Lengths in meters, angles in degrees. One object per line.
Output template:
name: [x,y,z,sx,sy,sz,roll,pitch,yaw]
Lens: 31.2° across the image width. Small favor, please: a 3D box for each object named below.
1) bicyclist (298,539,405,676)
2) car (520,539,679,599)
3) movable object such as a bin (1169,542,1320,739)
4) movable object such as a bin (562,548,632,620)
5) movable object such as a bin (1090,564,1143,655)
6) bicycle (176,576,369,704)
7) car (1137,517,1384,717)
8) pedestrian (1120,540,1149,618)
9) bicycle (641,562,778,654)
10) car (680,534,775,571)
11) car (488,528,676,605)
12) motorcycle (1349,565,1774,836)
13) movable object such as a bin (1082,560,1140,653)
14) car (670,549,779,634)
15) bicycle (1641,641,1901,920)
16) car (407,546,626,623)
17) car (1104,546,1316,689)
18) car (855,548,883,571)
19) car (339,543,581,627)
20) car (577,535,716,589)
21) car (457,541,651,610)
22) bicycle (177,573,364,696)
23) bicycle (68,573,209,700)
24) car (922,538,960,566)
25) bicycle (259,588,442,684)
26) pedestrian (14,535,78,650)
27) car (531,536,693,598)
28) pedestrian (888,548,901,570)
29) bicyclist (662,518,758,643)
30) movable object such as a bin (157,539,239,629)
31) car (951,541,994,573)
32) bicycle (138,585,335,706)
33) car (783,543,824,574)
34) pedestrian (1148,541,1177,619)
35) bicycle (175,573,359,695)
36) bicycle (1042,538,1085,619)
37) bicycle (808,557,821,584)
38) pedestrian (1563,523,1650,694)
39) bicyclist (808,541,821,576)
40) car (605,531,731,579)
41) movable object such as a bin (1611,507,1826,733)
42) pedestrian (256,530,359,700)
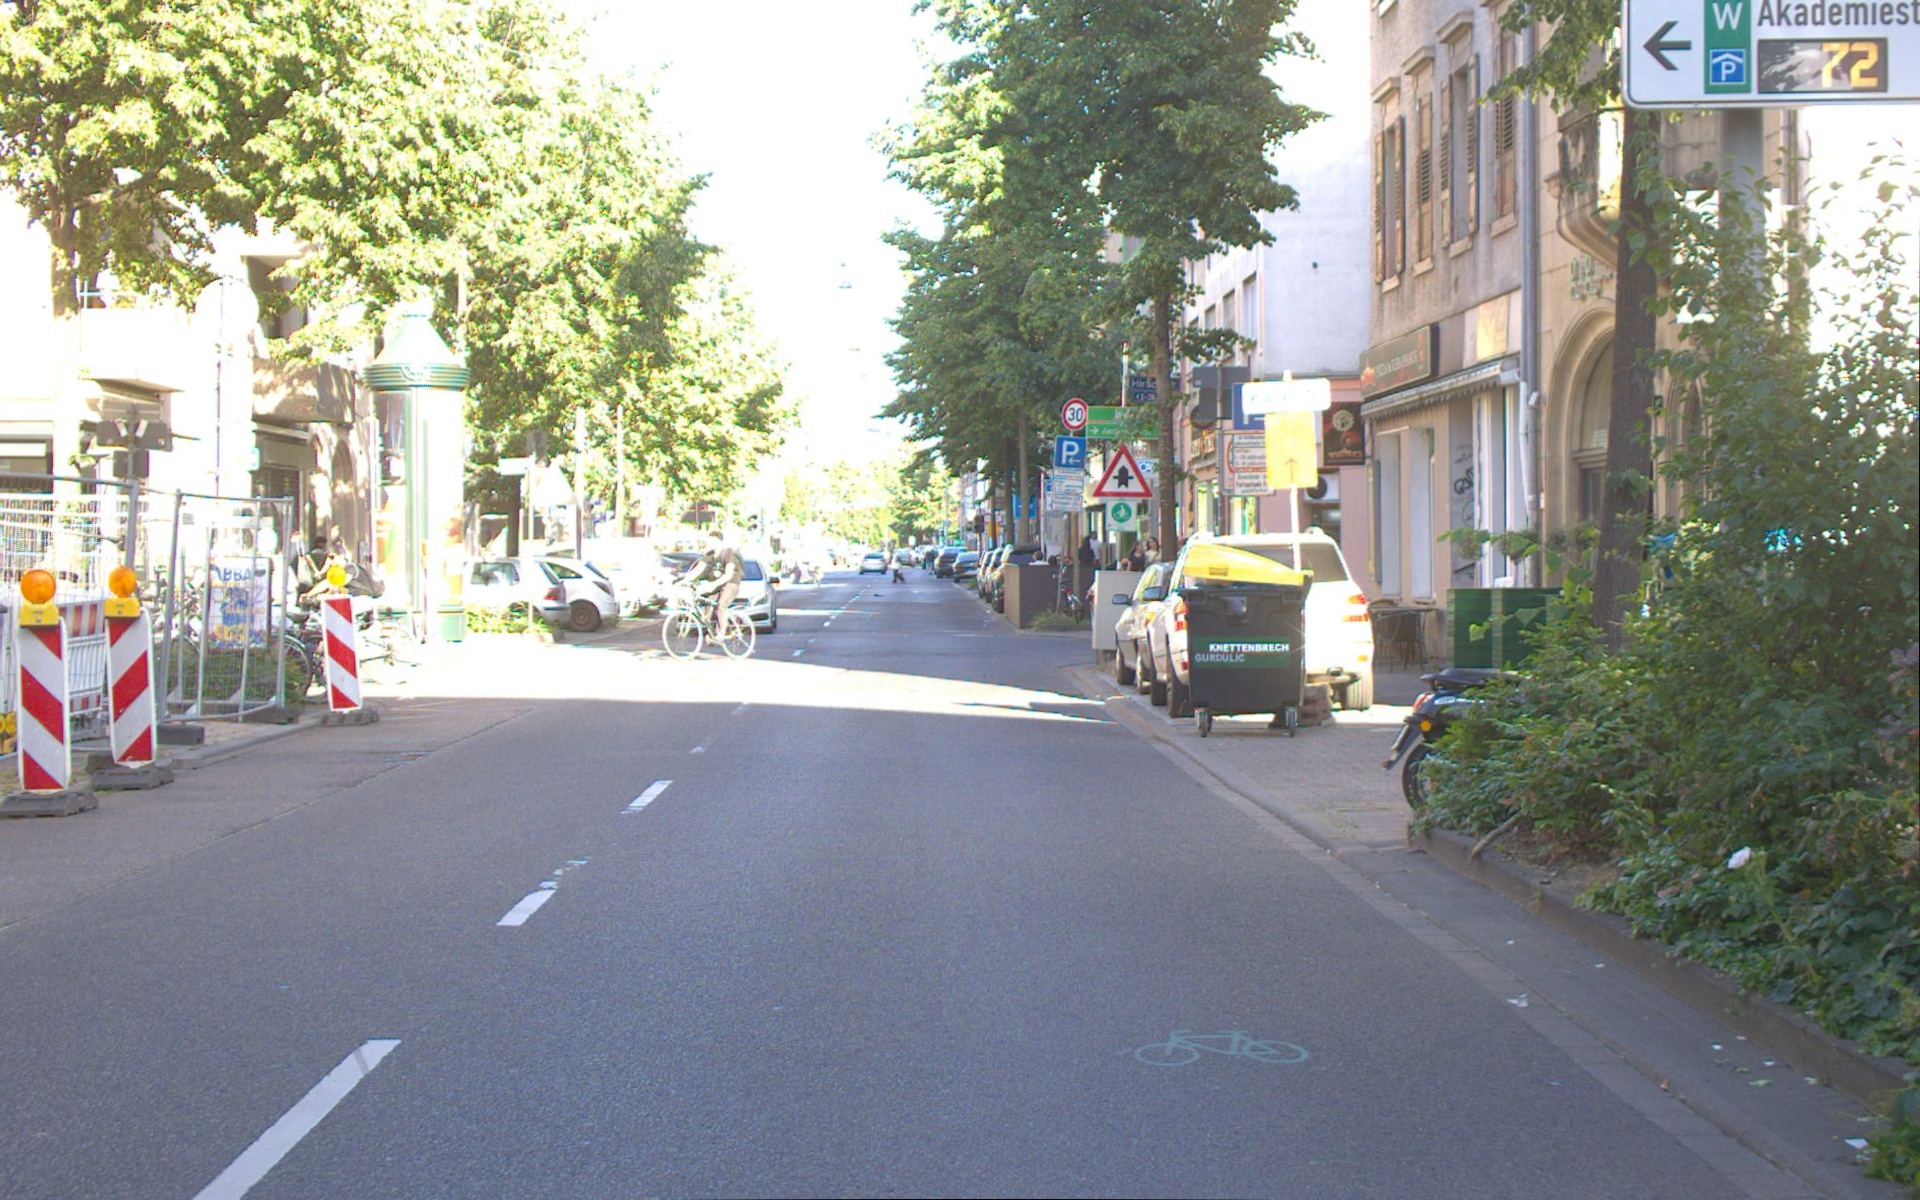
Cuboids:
bicyclist: [-7.095,0.077,40.094,1.037,1.555,0.769,-1,1,-26]
car: [-9.438,-0.811,90.170,3.986,1.495,2.000,-1,0,-2]
movable object such as a bin: [2.363,0.316,28.359,1.143,1.556,1.459,-1,1,7]
movable object such as a bin: [-7.698,-0.347,72.969,1.334,1.473,1.480,-1,1,-1]
movable object such as a bin: [2.067,0.122,45.450,0.621,1.175,0.712,-1,1,-3]
bicycle: [-6.857,0.396,34.362,1.854,1.248,0.600,0,1,-8]
car: [2.769,0.107,32.652,1.822,1.673,4.601,-3,1,0]
pedestrian: [3.710,-0.444,73.106,0.547,1.644,0.664,-1,1,0]
bicycle: [-3.448,0.095,47.477,0.720,1.215,2.031,0,1,36]
car: [-9.915,-2.053,146.846,3.986,1.494,2.000,-1,1,-2]
car: [-8.692,-0.788,79.191,3.987,1.688,2.000,-1,1,4]
motorcycle: [3.138,0.502,18.005,1.977,1.325,0.912,-1,1,-13]
movable object such as a bin: [2.030,0.082,46.287,0.705,1.218,0.681,-1,1,-3]
car: [-4.394,-0.192,64.595,1.802,1.430,4.410,-3,1,-2]
bicycle: [3.258,0.688,13.723,0.436,0.985,1.669,-1,1,34]
car: [-8.526,-0.314,66.285,3.986,1.385,2.000,-1,1,-2]
car: [2.700,0.147,37.973,1.822,1.386,4.301,-3,1,-2]
car: [-5.892,-2.619,223.034,1.792,1.406,4.000,-1,1,-1]
car: [-8.766,-0.273,60.494,3.986,1.385,2.000,-1,1,-2]
car: [-9.278,-1.138,101.955,3.986,1.494,2.000,-1,1,-2]
car: [-9.000,-0.551,76.393,3.987,1.452,1.868,-1,1,4]
bicycle: [-7.085,0.354,35.374,1.854,1.248,0.600,0,1,-8]
bicycle: [-8.438,0.356,35.272,0.598,1.248,1.793,-1,1,-43]
car: [-1.033,-2.585,185.240,1.993,1.503,4.000,0,0,-1]
bicycle: [-7.111,0.412,40.101,1.949,1.055,0.769,-1,1,-26]
pedestrian: [-13.219,-0.111,49.748,0.771,1.637,0.690,-1,1,-7]
car: [-8.879,-0.865,88.008,3.986,1.494,2.000,-1,1,-2]
pedestrian: [-3.065,-1.923,160.478,0.545,1.023,0.546,-1,1,-3]
bicyclist: [-3.447,-0.279,47.473,0.720,1.687,1.155,0,1,36]
movable object such as a bin: [-12.851,-0.281,58.032,1.140,1.480,1.236,-1,1,-3]
car: [0.582,-2.054,165.523,1.993,1.503,4.000,0,0,-1]
bicycle: [-7.077,0.441,33.688,1.854,1.166,0.600,0,1,-8]
car: [-7.524,-2.003,165.662,1.822,1.386,4.301,-3,1,-2]
pedestrian: [4.320,-0.441,73.335,0.547,1.644,0.664,-1,1,-1]
bicycle: [-7.247,0.354,36.013,1.854,1.248,0.600,0,1,-8]
bicycle: [1.941,-0.420,64.493,0.560,1.436,1.628,-7,1,-1]
bicycle: [-6.404,-1.310,151.465,0.560,1.176,1.628,0,0,-1]
pedestrian: [5.915,0.071,31.474,0.610,1.535,0.699,-1,1,-1]
bicyclist: [-6.414,-1.820,151.477,0.560,1.542,0.728,0,0,-1]
car: [-9.549,-1.469,112.721,3.986,1.494,2.000,-1,1,-2]
movable object such as a bin: [5.666,0.131,25.788,1.205,1.622,1.498,-1,1,-2]
pedestrian: [-6.653,0.145,35.036,0.792,1.701,0.767,0,1,-34]
